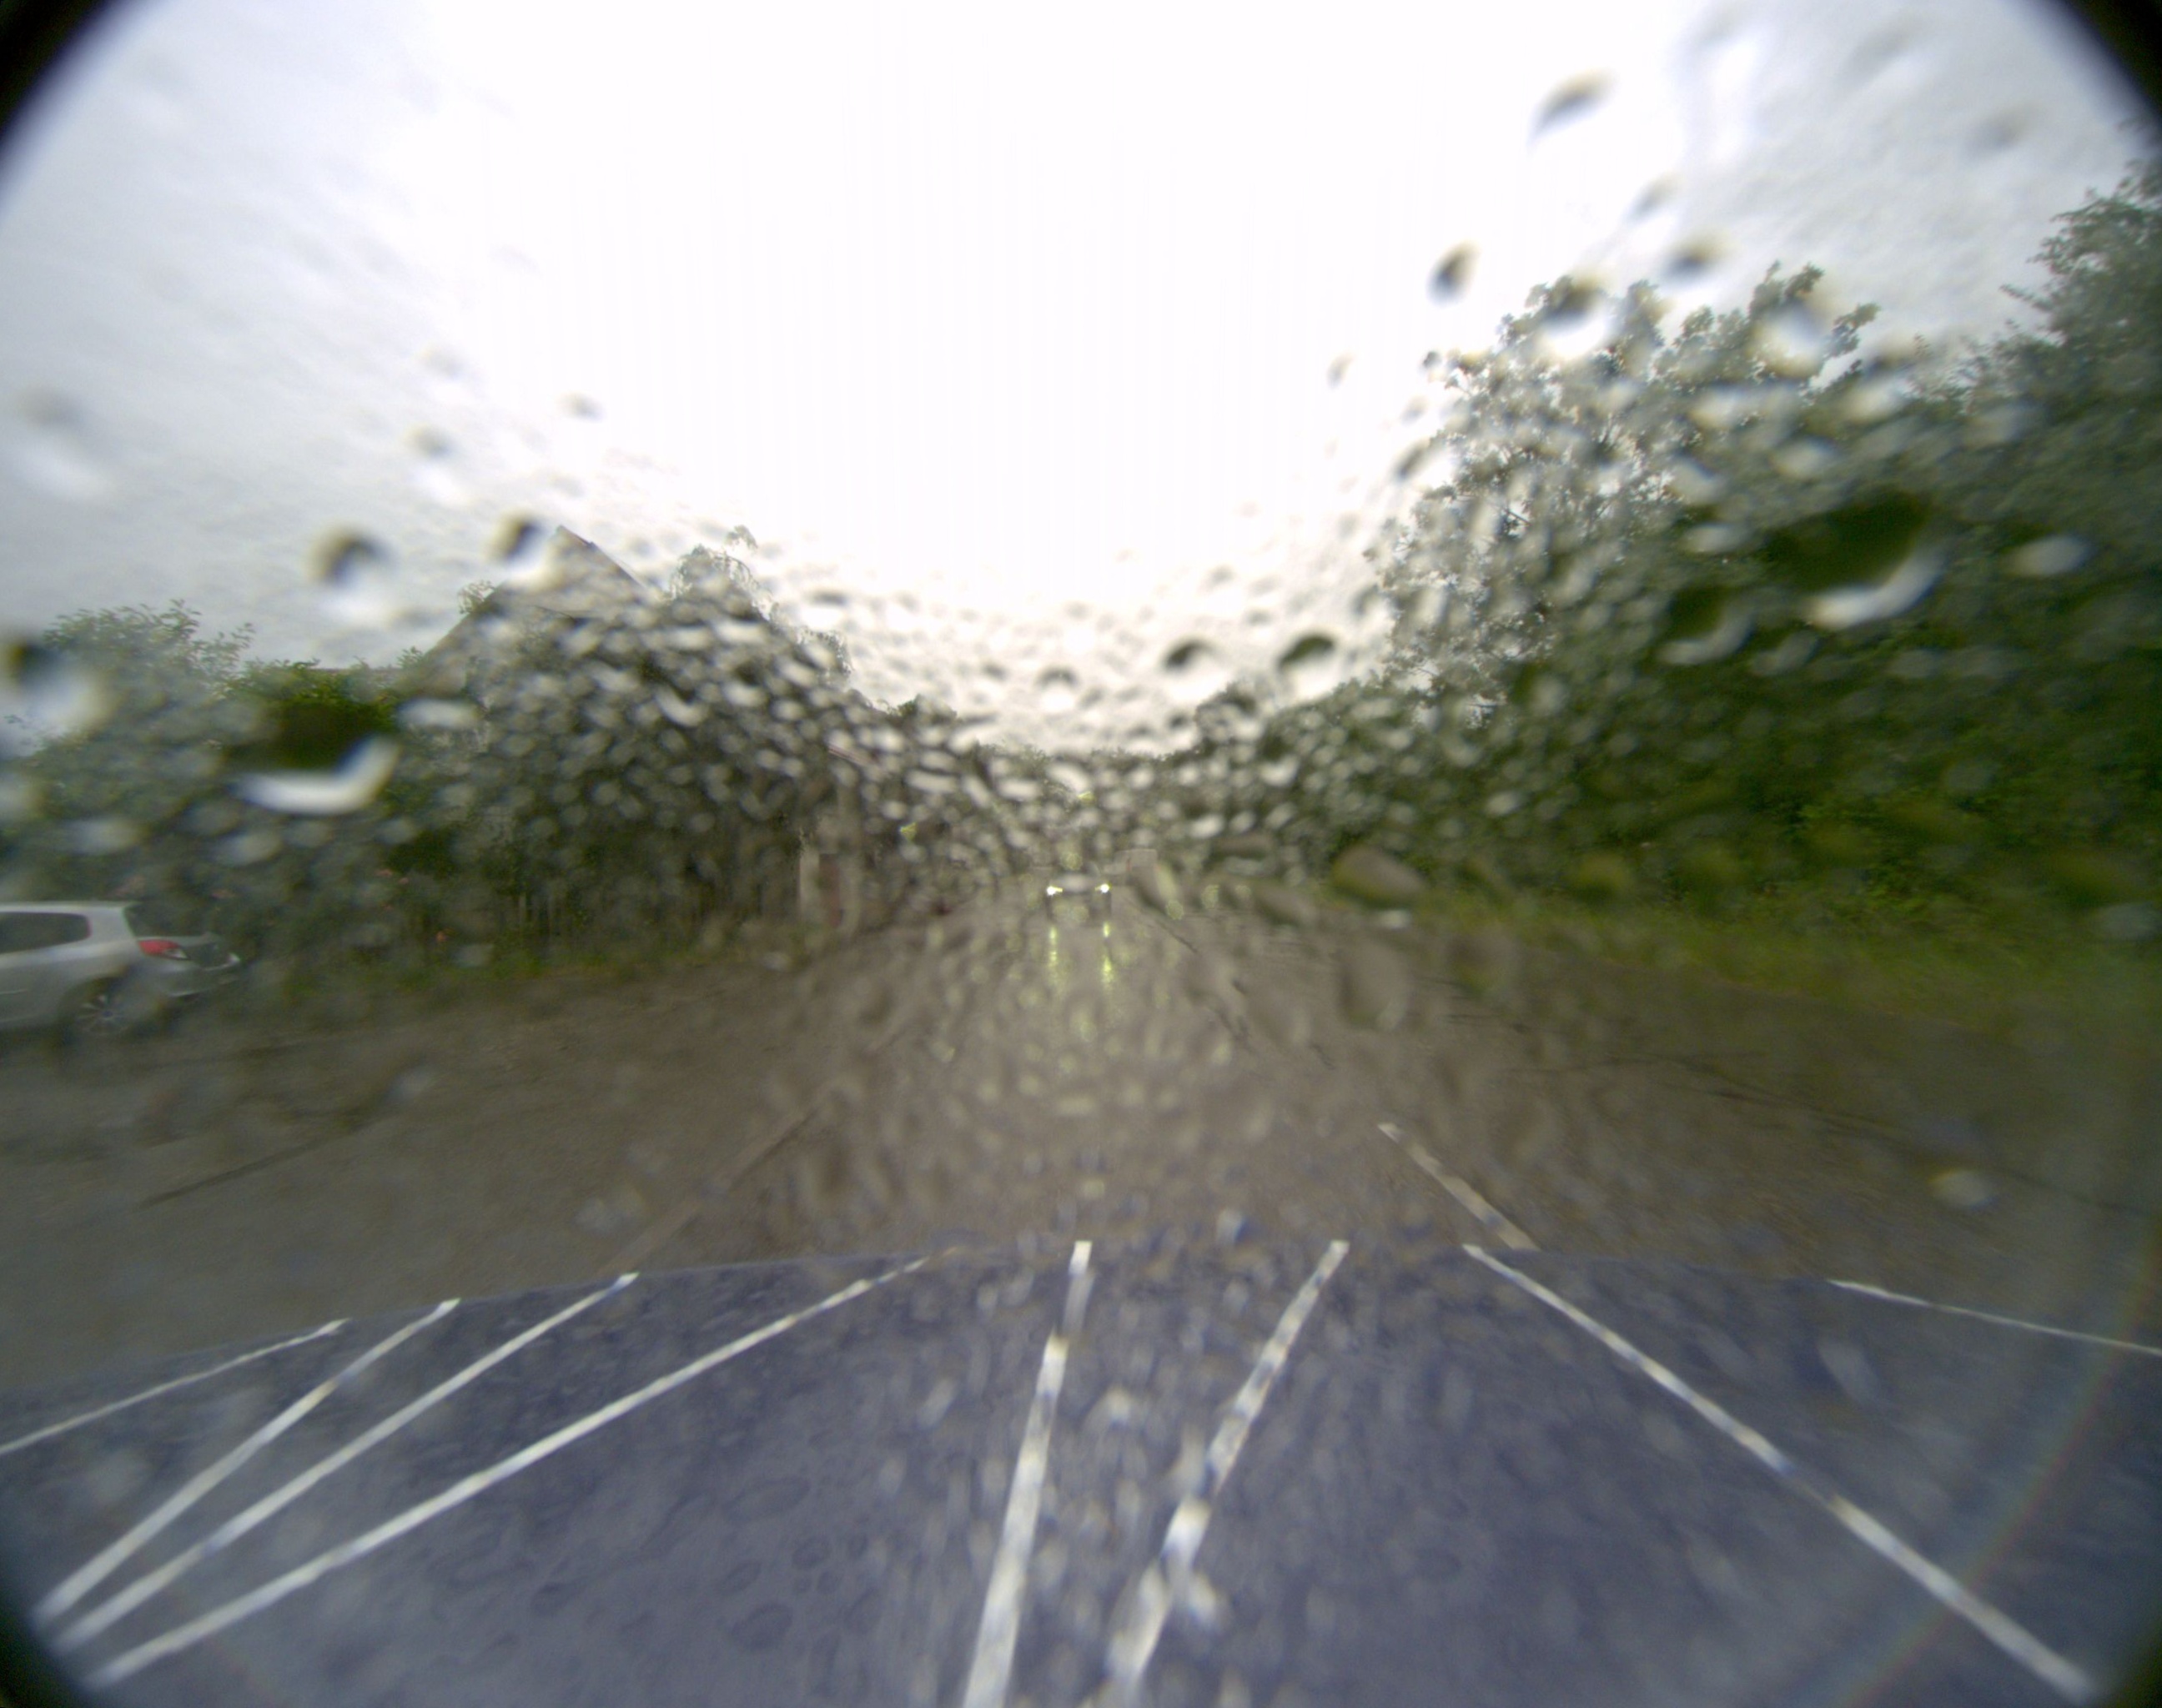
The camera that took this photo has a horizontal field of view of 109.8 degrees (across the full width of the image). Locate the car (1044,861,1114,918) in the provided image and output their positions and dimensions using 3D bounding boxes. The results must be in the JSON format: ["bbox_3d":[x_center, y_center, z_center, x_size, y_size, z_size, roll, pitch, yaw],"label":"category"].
[{"bbox_3d":[-0.039,0.954,22.246,1.767,1.316,4.548,-3,1,0],"label":"car"}]

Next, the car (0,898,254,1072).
[{"bbox_3d":[-11.444,1.378,7.624,3.862,1.523,1.715,-3,1,-32],"label":"car"}]

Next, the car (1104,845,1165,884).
[{"bbox_3d":[2.708,0.508,39.292,1.838,1.853,3.949,-3,1,-15],"label":"car"}]
